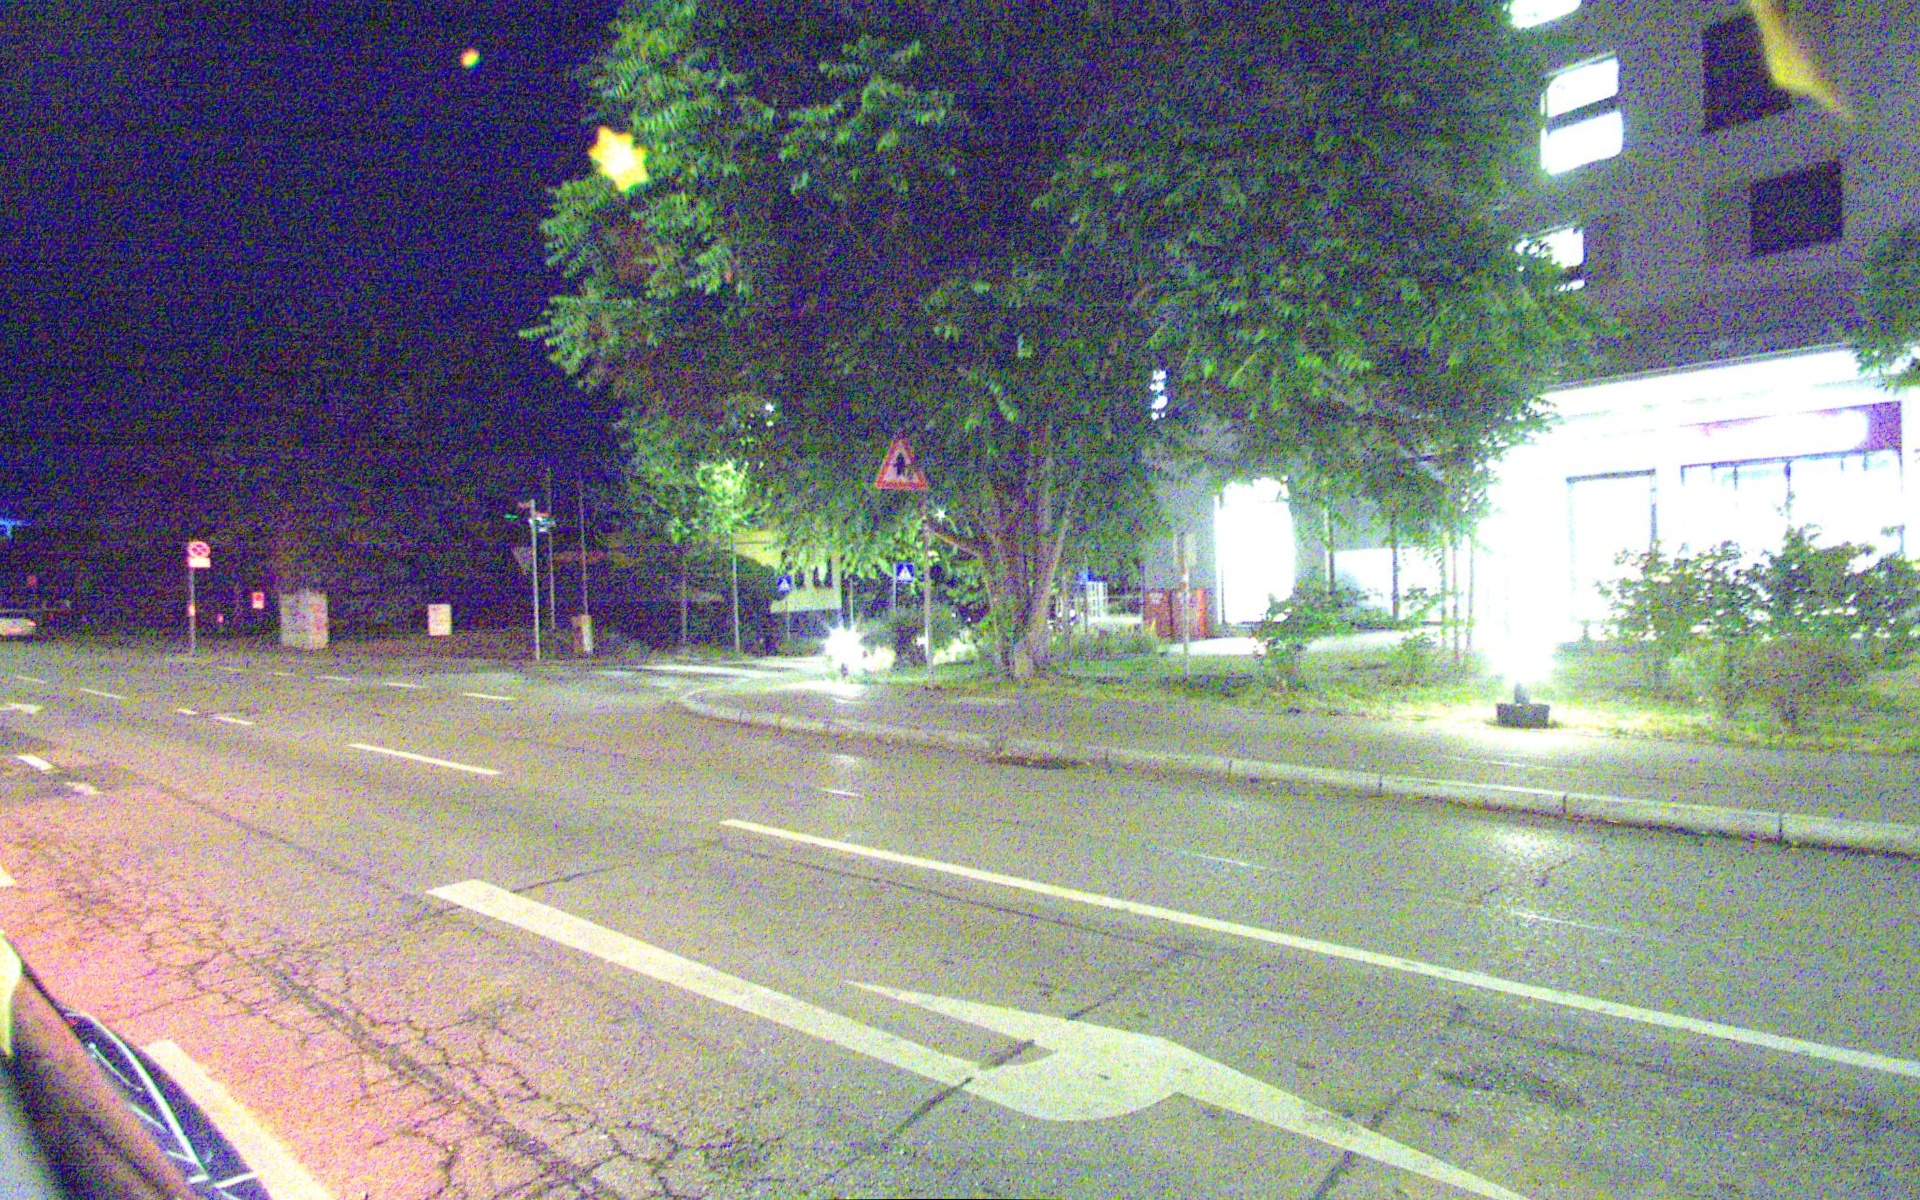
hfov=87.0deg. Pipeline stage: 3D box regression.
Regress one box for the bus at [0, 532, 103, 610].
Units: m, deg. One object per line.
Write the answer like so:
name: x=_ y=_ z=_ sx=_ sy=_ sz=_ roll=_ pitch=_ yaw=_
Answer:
bus: x=-88.368 y=-2.575 z=98.060 sx=14.776 sy=6.990 sz=6.056 roll=-1 pitch=0 yaw=41

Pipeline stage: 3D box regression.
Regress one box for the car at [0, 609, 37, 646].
car: x=-43.182 y=1.220 z=45.636 sx=3.996 sy=1.604 sz=1.784 roll=-1 pitch=0 yaw=39
